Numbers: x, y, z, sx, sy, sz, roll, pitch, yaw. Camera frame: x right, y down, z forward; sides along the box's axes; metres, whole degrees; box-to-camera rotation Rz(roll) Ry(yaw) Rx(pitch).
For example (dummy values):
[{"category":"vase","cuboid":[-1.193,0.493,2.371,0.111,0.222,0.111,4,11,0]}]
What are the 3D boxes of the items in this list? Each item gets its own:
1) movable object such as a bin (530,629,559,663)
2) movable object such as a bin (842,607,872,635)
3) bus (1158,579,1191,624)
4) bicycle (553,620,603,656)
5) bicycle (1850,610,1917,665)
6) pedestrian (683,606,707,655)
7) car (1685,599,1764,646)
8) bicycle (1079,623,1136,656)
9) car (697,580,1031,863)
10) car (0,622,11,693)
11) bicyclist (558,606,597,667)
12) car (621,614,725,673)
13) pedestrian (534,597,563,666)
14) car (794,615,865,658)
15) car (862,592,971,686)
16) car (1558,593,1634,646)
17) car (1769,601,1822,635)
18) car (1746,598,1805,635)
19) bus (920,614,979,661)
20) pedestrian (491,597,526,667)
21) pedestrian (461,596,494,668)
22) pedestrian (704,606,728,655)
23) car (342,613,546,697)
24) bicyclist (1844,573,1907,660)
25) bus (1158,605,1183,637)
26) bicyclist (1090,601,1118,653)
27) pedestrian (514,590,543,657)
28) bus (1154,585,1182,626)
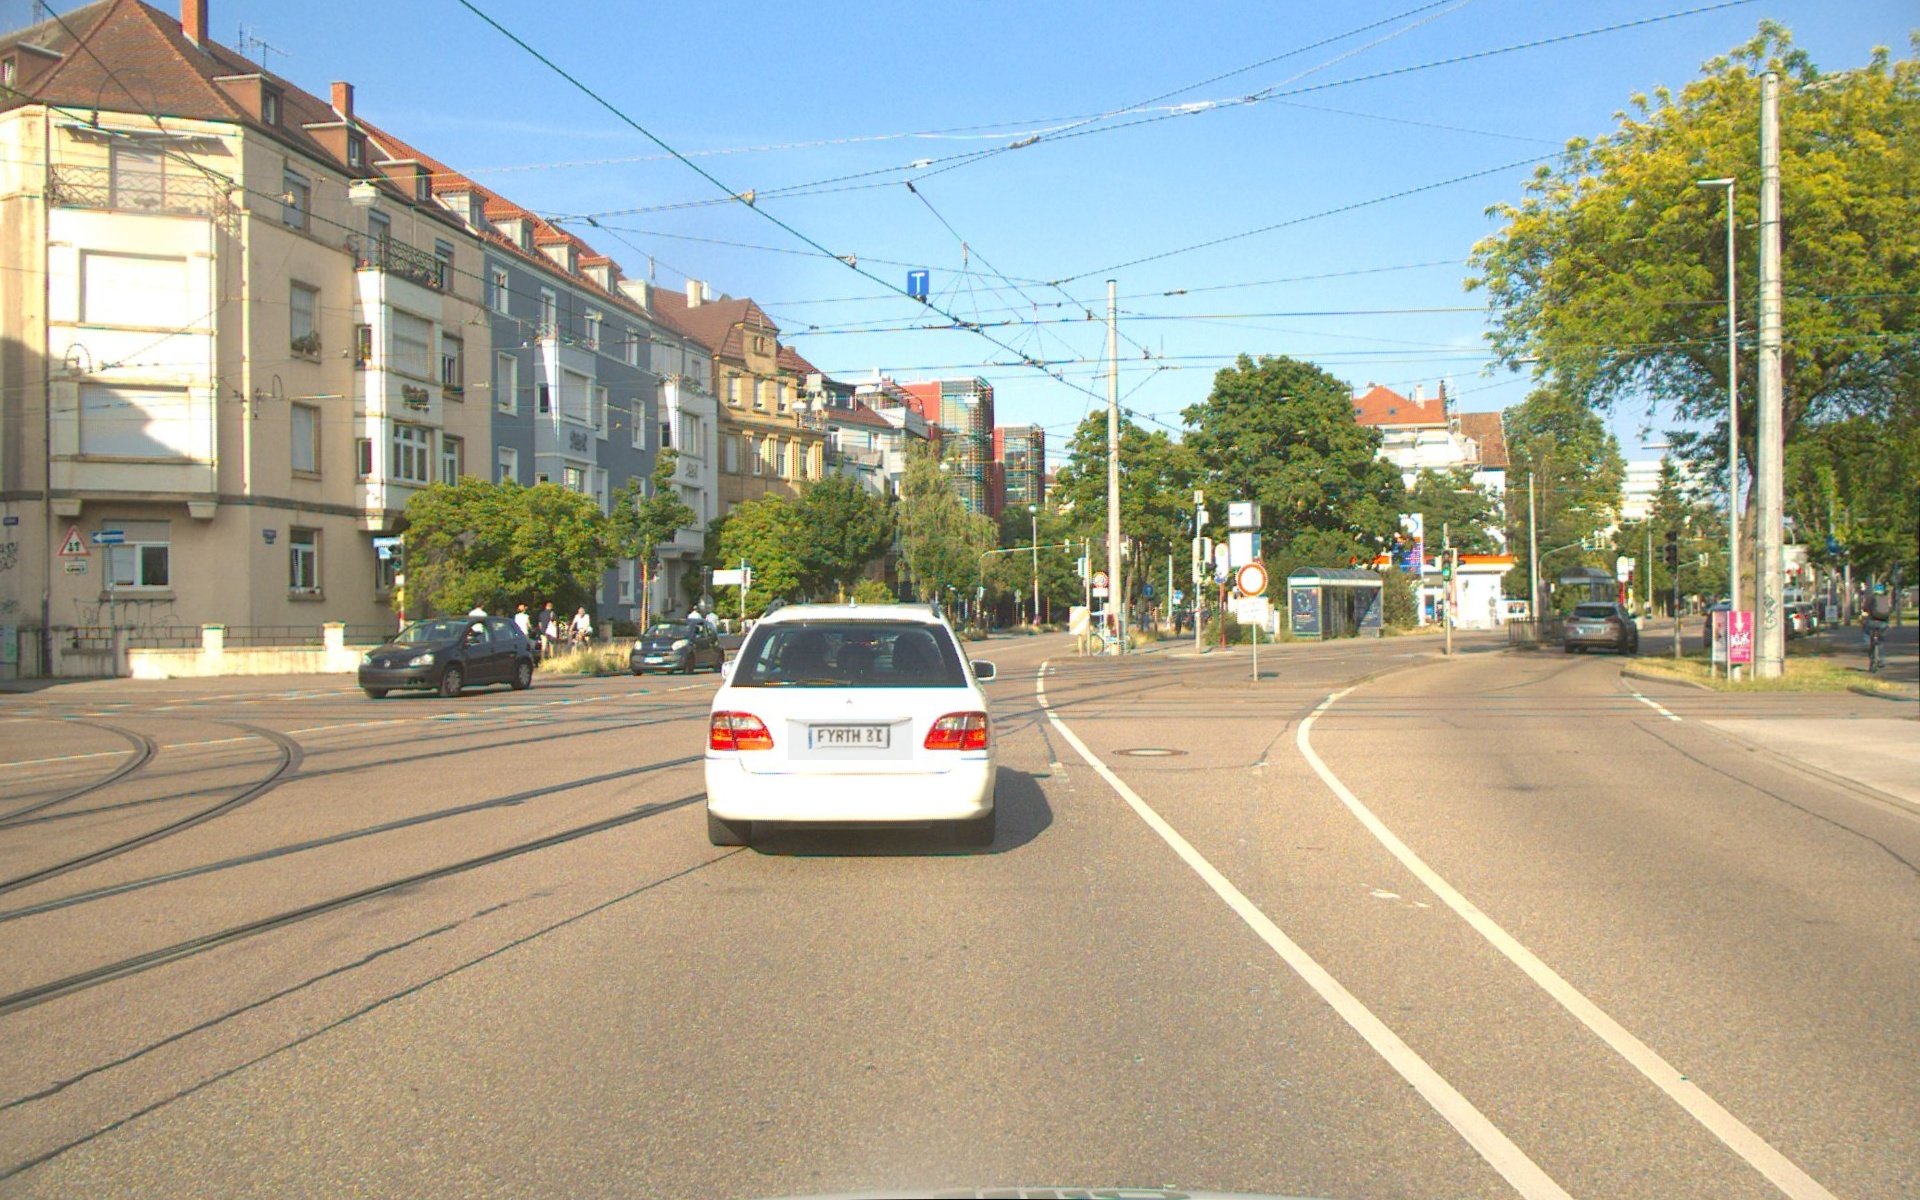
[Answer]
[{"category":"movable object such as a bin","cuboid":[-12.039,1.334,47.921,0.570,0.963,0.663,-1,-1,14]},{"category":"movable object such as a bin","cuboid":[-5.528,1.128,88.674,1.570,1.446,1.084,-1,-1,-2]},{"category":"bus","cuboid":[12.360,0.102,95.443,1.759,2.455,4.002,2,-1,6]},{"category":"bicycle","cuboid":[-10.877,1.080,47.144,0.752,0.982,2.035,-1,0,6]},{"category":"bicycle","cuboid":[19.488,0.781,34.936,0.627,1.107,1.735,-3,-1,8]},{"category":"pedestrian","cuboid":[-9.870,1.124,61.527,0.625,1.781,0.912,-1,-1,8]},{"category":"car","cuboid":[26.802,0.756,57.933,1.821,1.542,3.987,-3,-1,34]},{"category":"bicycle","cuboid":[4.973,1.327,55.912,1.873,1.012,0.727,-2,-1,5]},{"category":"car","cuboid":[-0.649,0.686,10.962,1.799,1.528,3.812,1,-1,-4]},{"category":"car","cuboid":[-22.184,1.243,34.440,3.902,1.482,1.801,-1,0,7]},{"category":"bicyclist","cuboid":[-10.873,1.030,47.068,0.744,1.697,1.168,-1,-1,6]},{"category":"car","cuboid":[-7.459,1.112,43.226,1.599,1.458,3.631,-1,0,9]},{"category":"pedestrian","cuboid":[-11.667,0.887,46.860,0.572,1.914,0.627,-1,-1,10]},{"category":"car","cuboid":[-4.486,1.260,57.265,1.653,1.445,4.003,-1,-1,8]},{"category":"car","cuboid":[-0.762,0.700,31.074,1.607,1.628,3.817,1,-1,5]},{"category":"car","cuboid":[20.681,0.633,53.681,1.800,1.628,3.809,1,-1,29]},{"category":"car","cuboid":[40.523,0.878,80.172,1.821,1.542,3.988,-3,-1,33]},{"category":"car","cuboid":[35.520,0.710,72.000,1.821,1.542,3.988,-3,-1,33]},{"category":"bus","cuboid":[-0.365,1.349,61.041,1.805,1.665,4.161,-1,-1,5]},{"category":"pedestrian","cuboid":[-12.203,0.862,44.725,0.659,1.880,0.650,-1,-1,12]},{"category":"pedestrian","cuboid":[-13.059,0.865,44.773,0.644,1.914,0.627,-1,-1,9]},{"category":"pedestrian","cuboid":[-9.037,1.123,61.287,0.625,1.781,0.912,-1,-1,8]},{"category":"car","cuboid":[-9.623,0.991,31.170,1.729,1.458,4.002,-1,0,17]},{"category":"bicyclist","cuboid":[19.504,0.355,35.250,0.704,1.776,1.141,-4,-1,8]},{"category":"bus","cuboid":[16.073,1.623,126.477,1.760,2.374,4.002,2,-1,6]},{"category":"bicyclist","cuboid":[4.860,0.914,55.932,0.880,1.728,0.733,-2,-1,5]},{"category":"pedestrian","cuboid":[-12.271,0.666,47.061,0.572,1.914,0.627,-1,-1,9]},{"category":"bus","cuboid":[13.952,0.374,111.094,1.759,2.600,4.002,2,-1,7]}]
